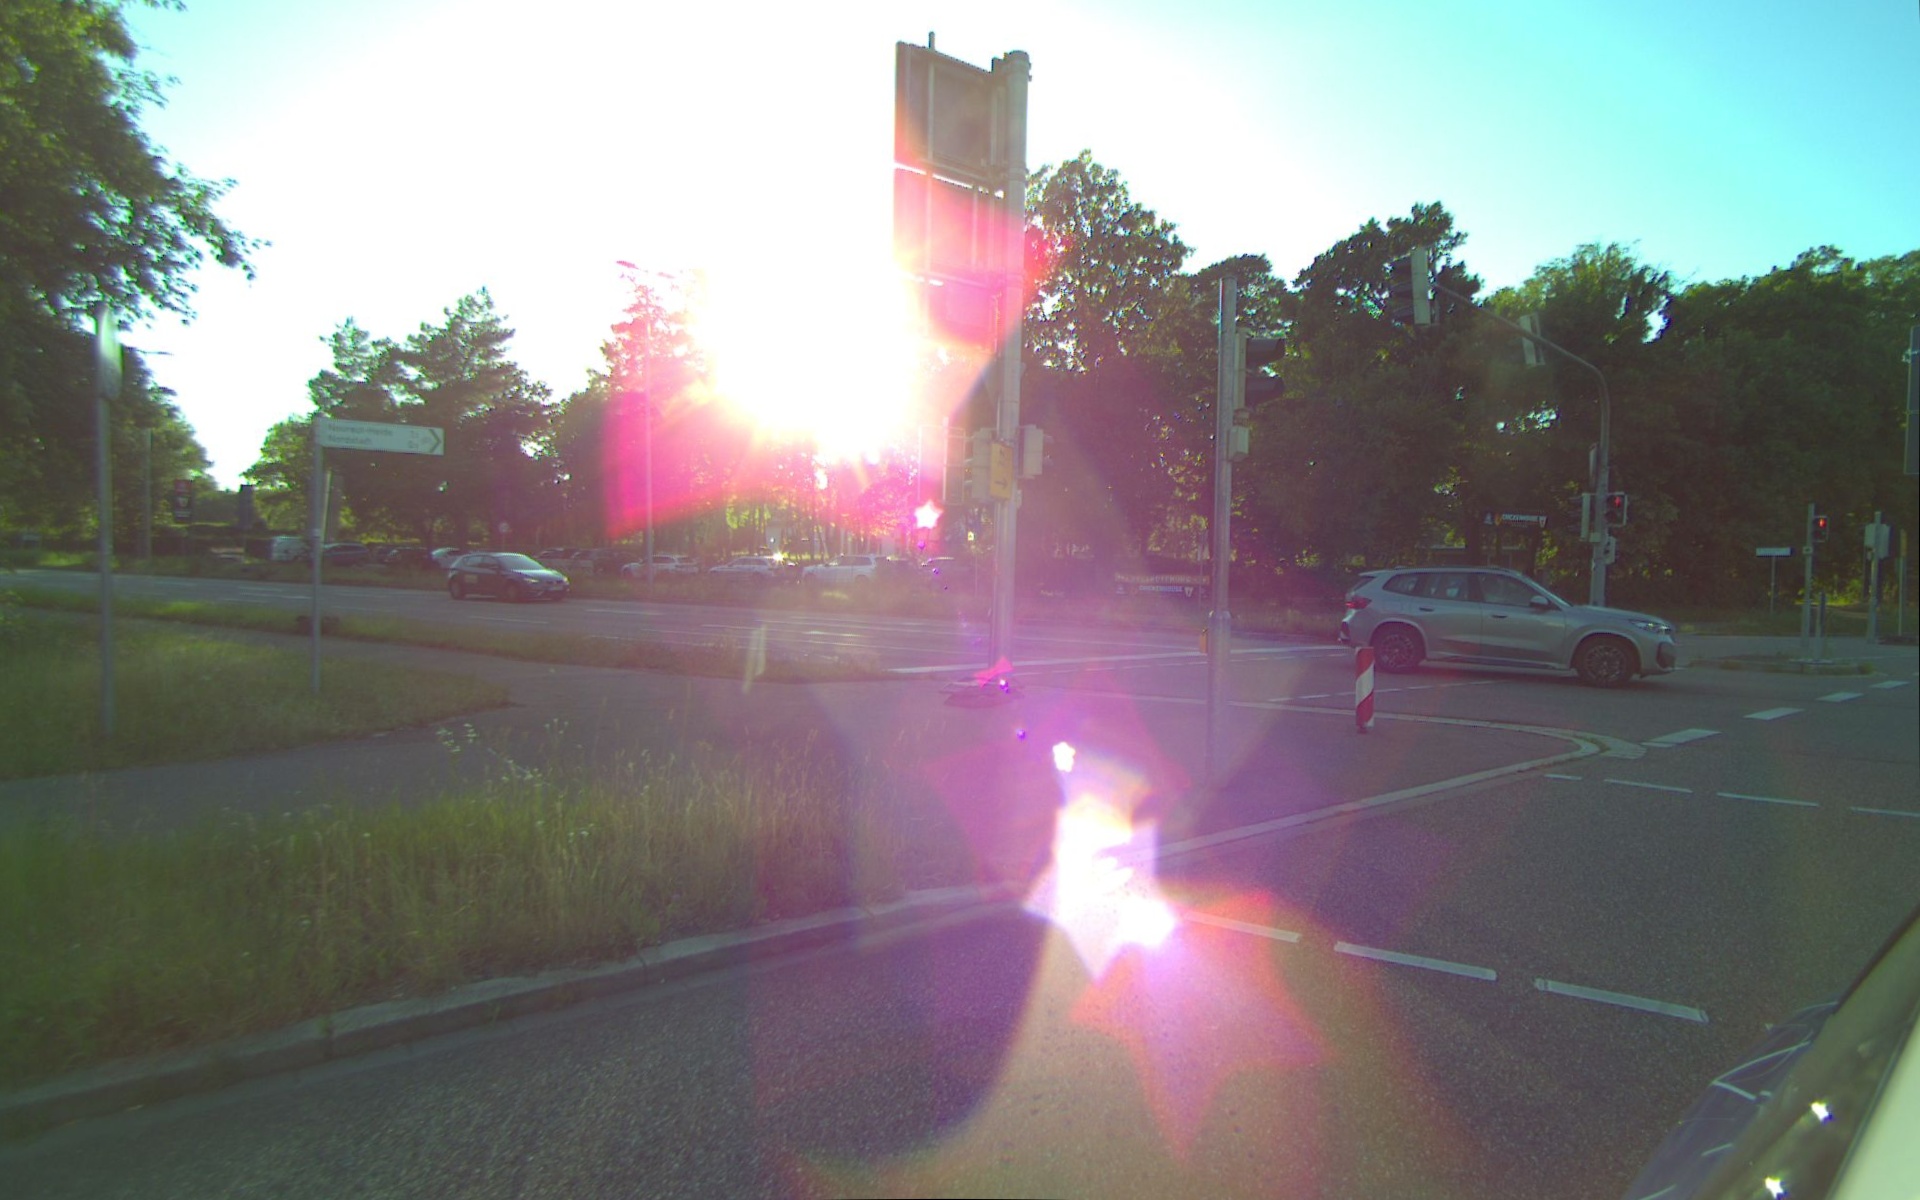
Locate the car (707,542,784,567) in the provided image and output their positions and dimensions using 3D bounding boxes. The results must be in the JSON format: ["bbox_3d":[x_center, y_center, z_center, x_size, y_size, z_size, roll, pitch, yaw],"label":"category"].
[{"bbox_3d":[-13.319,-2.813,62.866,4.501,1.424,1.849,2,2,26],"label":"car"}]

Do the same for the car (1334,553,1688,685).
[{"bbox_3d":[8.089,0.162,15.220,4.359,1.643,1.980,2,4,30],"label":"car"}]

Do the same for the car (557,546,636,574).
[{"bbox_3d":[-20.310,-2.241,56.718,1.748,1.497,4.007,2,3,30],"label":"car"}]

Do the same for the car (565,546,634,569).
[{"bbox_3d":[-24.449,-2.895,68.610,4.501,1.424,1.849,2,2,26],"label":"car"}]

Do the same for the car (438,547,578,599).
[{"bbox_3d":[-13.714,-0.857,30.691,4.041,1.422,1.854,2,4,30],"label":"car"}]

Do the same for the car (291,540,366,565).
[{"bbox_3d":[-42.802,-3.210,68.626,1.810,1.657,3.959,2,2,29],"label":"car"}]

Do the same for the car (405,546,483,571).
[{"bbox_3d":[-32.356,-2.587,63.588,1.766,1.497,4.134,2,2,26],"label":"car"}]

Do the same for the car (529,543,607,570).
[{"bbox_3d":[-22.885,-2.517,59.220,1.981,1.471,3.964,2,3,27],"label":"car"}]

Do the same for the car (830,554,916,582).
[{"bbox_3d":[-4.908,-1.806,56.735,4.501,1.424,1.849,2,2,26],"label":"car"}]

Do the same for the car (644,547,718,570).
[{"bbox_3d":[-18.040,-2.683,65.452,4.501,1.424,1.849,2,2,26],"label":"car"}]

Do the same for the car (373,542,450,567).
[{"bbox_3d":[-35.012,-2.905,64.717,1.766,1.497,4.134,2,2,26],"label":"car"}]

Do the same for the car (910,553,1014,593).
[{"bbox_3d":[0.087,-1.280,47.108,4.484,1.678,1.857,3,2,16],"label":"car"}]

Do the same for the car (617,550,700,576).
[{"bbox_3d":[-16.609,-2.041,55.769,4.454,1.340,1.665,2,2,26],"label":"car"}]

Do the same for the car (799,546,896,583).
[{"bbox_3d":[-5.578,-1.767,50.056,4.501,1.678,1.849,2,2,26],"label":"car"}]

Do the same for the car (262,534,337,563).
[{"bbox_3d":[-45.577,-3.517,69.926,1.810,1.888,3.959,2,2,29],"label":"car"}]

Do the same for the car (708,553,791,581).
[{"bbox_3d":[-10.973,-1.742,52.829,3.959,1.348,1.849,2,2,26],"label":"car"}]
